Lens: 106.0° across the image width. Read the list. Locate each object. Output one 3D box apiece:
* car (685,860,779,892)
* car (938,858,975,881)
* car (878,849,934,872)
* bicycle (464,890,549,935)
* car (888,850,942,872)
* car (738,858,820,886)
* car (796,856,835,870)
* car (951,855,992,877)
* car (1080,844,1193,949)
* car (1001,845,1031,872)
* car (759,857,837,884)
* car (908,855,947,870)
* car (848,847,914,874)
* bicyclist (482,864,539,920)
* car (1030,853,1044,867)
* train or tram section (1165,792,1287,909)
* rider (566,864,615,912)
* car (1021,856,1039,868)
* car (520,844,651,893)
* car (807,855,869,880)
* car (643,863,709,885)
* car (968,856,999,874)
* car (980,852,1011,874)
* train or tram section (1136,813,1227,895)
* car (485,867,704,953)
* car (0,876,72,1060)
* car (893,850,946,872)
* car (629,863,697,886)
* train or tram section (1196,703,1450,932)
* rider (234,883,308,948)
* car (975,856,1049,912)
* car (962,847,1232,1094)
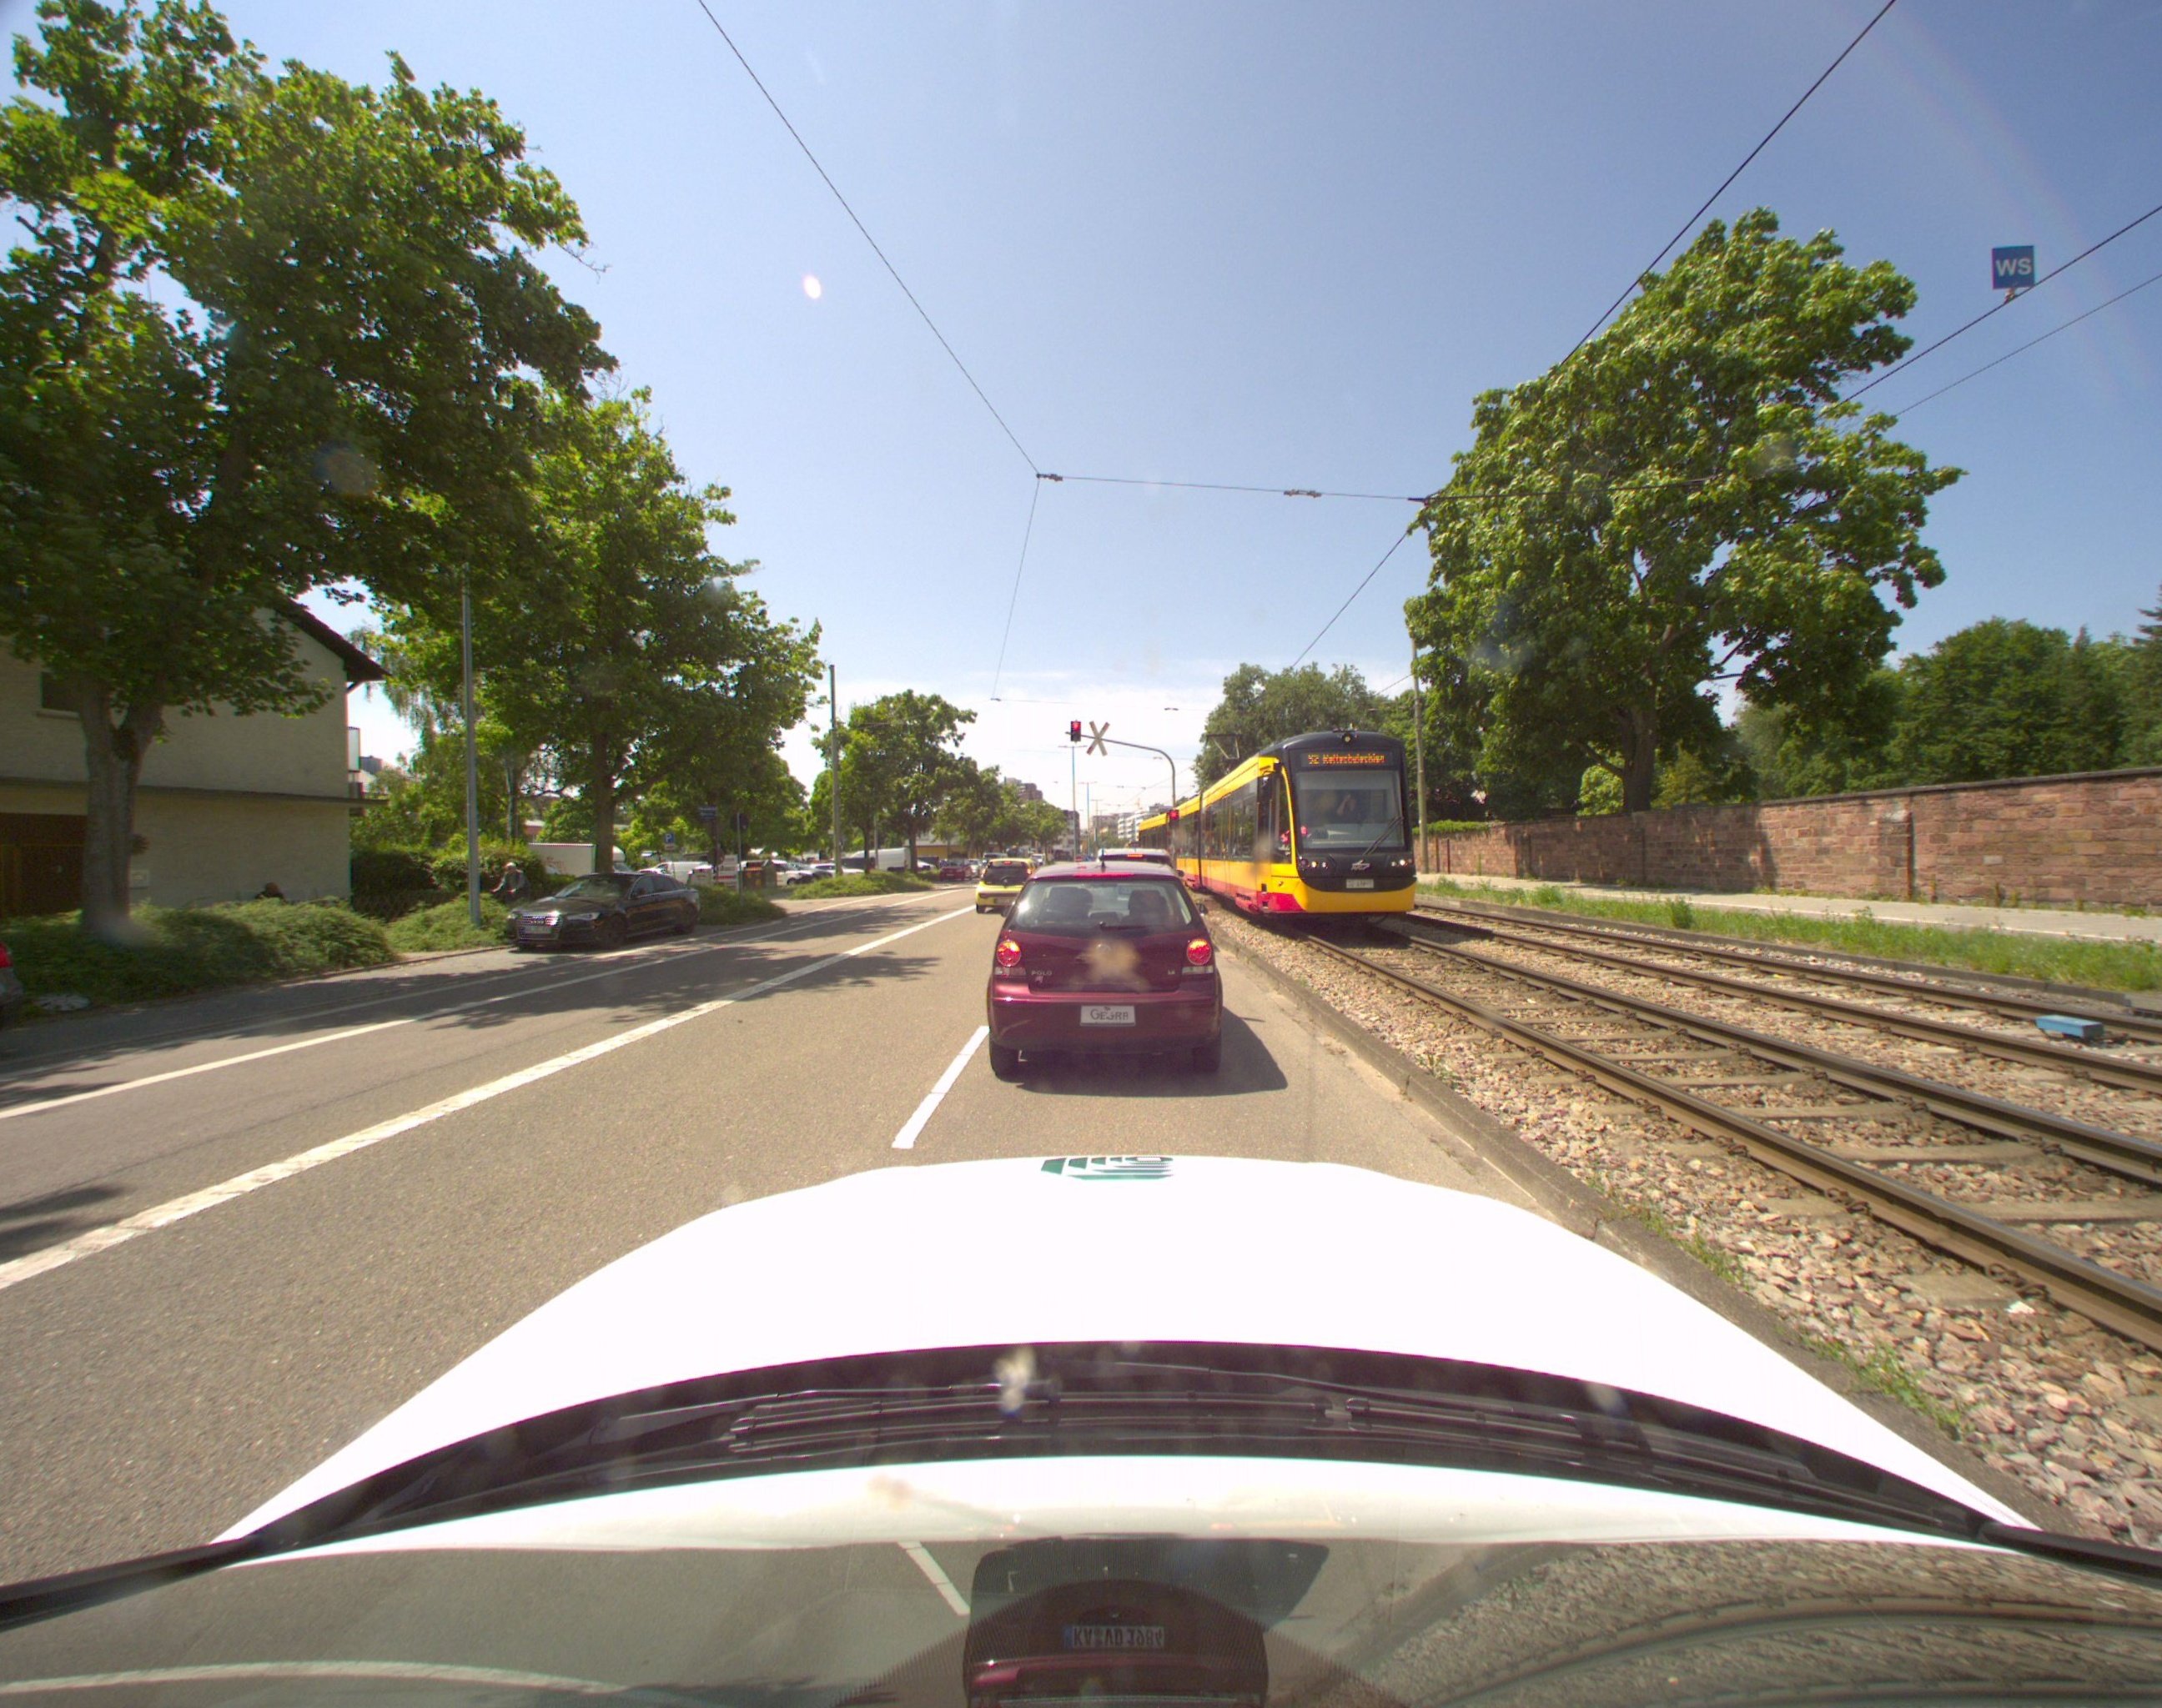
[{"bbox_3d":[-19.351,1.185,45.278,4.329,1.585,1.912,-2,0,-1],"label":"car"},{"bbox_3d":[-8.328,1.016,54.762,1.655,1.497,4.004,1,-1,4],"label":"car"},{"bbox_3d":[-17.727,0.691,82.880,5.076,2.244,2.380,1,-1,3],"label":"car"},{"bbox_3d":[-14.543,1.465,20.680,0.697,1.030,1.831,0,-1,5],"label":"bicycle"},{"bbox_3d":[-17.336,0.724,85.344,5.076,2.244,2.380,1,-1,3],"label":"car"},{"bbox_3d":[-18.618,1.097,50.321,4.319,1.585,1.917,-2,0,7],"label":"car"},{"bbox_3d":[-31.569,1.024,96.936,4.006,1.617,1.816,1,-1,0],"label":"car"},{"bbox_3d":[-8.219,0.888,61.314,1.965,1.601,4.566,0,-1,6],"label":"car"},{"bbox_3d":[0.905,0.661,14.752,1.770,1.647,4.001,0,0,1],"label":"car"},{"bbox_3d":[-6.691,0.452,84.580,2.352,2.692,5.311,1,-1,3],"label":"car"},{"bbox_3d":[-18.411,1.085,53.072,4.319,1.585,1.917,-2,0,8],"label":"car"},{"bbox_3d":[-17.397,0.995,92.351,4.004,1.617,1.818,1,-1,3],"label":"car"},{"bbox_3d":[-17.509,0.580,71.548,5.076,2.244,2.380,1,-1,3],"label":"car"},{"bbox_3d":[-14.518,0.951,20.738,0.805,1.374,0.829,0,-1,5],"label":"bicyclist"},{"bbox_3d":[-5.873,0.808,107.857,1.771,1.828,3.995,1,-1,-3],"label":"car"},{"bbox_3d":[5.086,-0.128,30.878,2.732,3.609,10.949,1,0,0],"label":"train or tram section"},{"bbox_3d":[-15.191,1.046,25.235,0.805,1.359,0.829,8,1,7],"label":"rider"},{"bbox_3d":[-6.331,1.046,101.832,1.606,1.441,4.006,0,-1,5],"label":"car"},{"bbox_3d":[-31.441,0.911,51.819,6.828,2.965,2.364,1,-1,0],"label":"car"},{"bbox_3d":[-18.177,1.006,61.105,3.973,1.746,1.998,-2,0,0],"label":"car"},{"bbox_3d":[-30.673,1.521,61.769,3.982,1.653,1.812,1,-1,-7],"label":"car"},{"bbox_3d":[-7.924,0.874,66.507,1.606,1.441,4.006,0,-1,5],"label":"car"},{"bbox_3d":[-7.445,0.778,71.543,1.774,1.881,4.791,0,-1,5],"label":"car"},{"bbox_3d":[4.835,-0.011,41.472,2.735,3.609,10.938,1,0,-3],"label":"train or tram section"},{"bbox_3d":[-9.864,1.059,17.020,1.812,1.476,4.450,0,0,1],"label":"car"},{"bbox_3d":[-10.251,0.989,5.411,1.812,1.564,4.182,0,0,1],"label":"car"},{"bbox_3d":[-17.368,0.753,87.881,5.076,2.244,2.380,1,-1,3],"label":"car"},{"bbox_3d":[-30.413,1.495,59.351,3.982,1.653,1.812,1,-1,-7],"label":"car"},{"bbox_3d":[4.724,-0.607,19.305,2.730,3.609,12.878,1,0,2],"label":"train or tram section"},{"bbox_3d":[-17.971,1.351,18.081,0.820,1.374,0.814,-2,0,10],"label":"rider"},{"bbox_3d":[-1.849,0.787,22.695,1.684,1.411,3.516,0,0,1],"label":"car"},{"bbox_3d":[0.141,0.715,7.036,1.666,1.521,4.001,0,0,1],"label":"car"}]
